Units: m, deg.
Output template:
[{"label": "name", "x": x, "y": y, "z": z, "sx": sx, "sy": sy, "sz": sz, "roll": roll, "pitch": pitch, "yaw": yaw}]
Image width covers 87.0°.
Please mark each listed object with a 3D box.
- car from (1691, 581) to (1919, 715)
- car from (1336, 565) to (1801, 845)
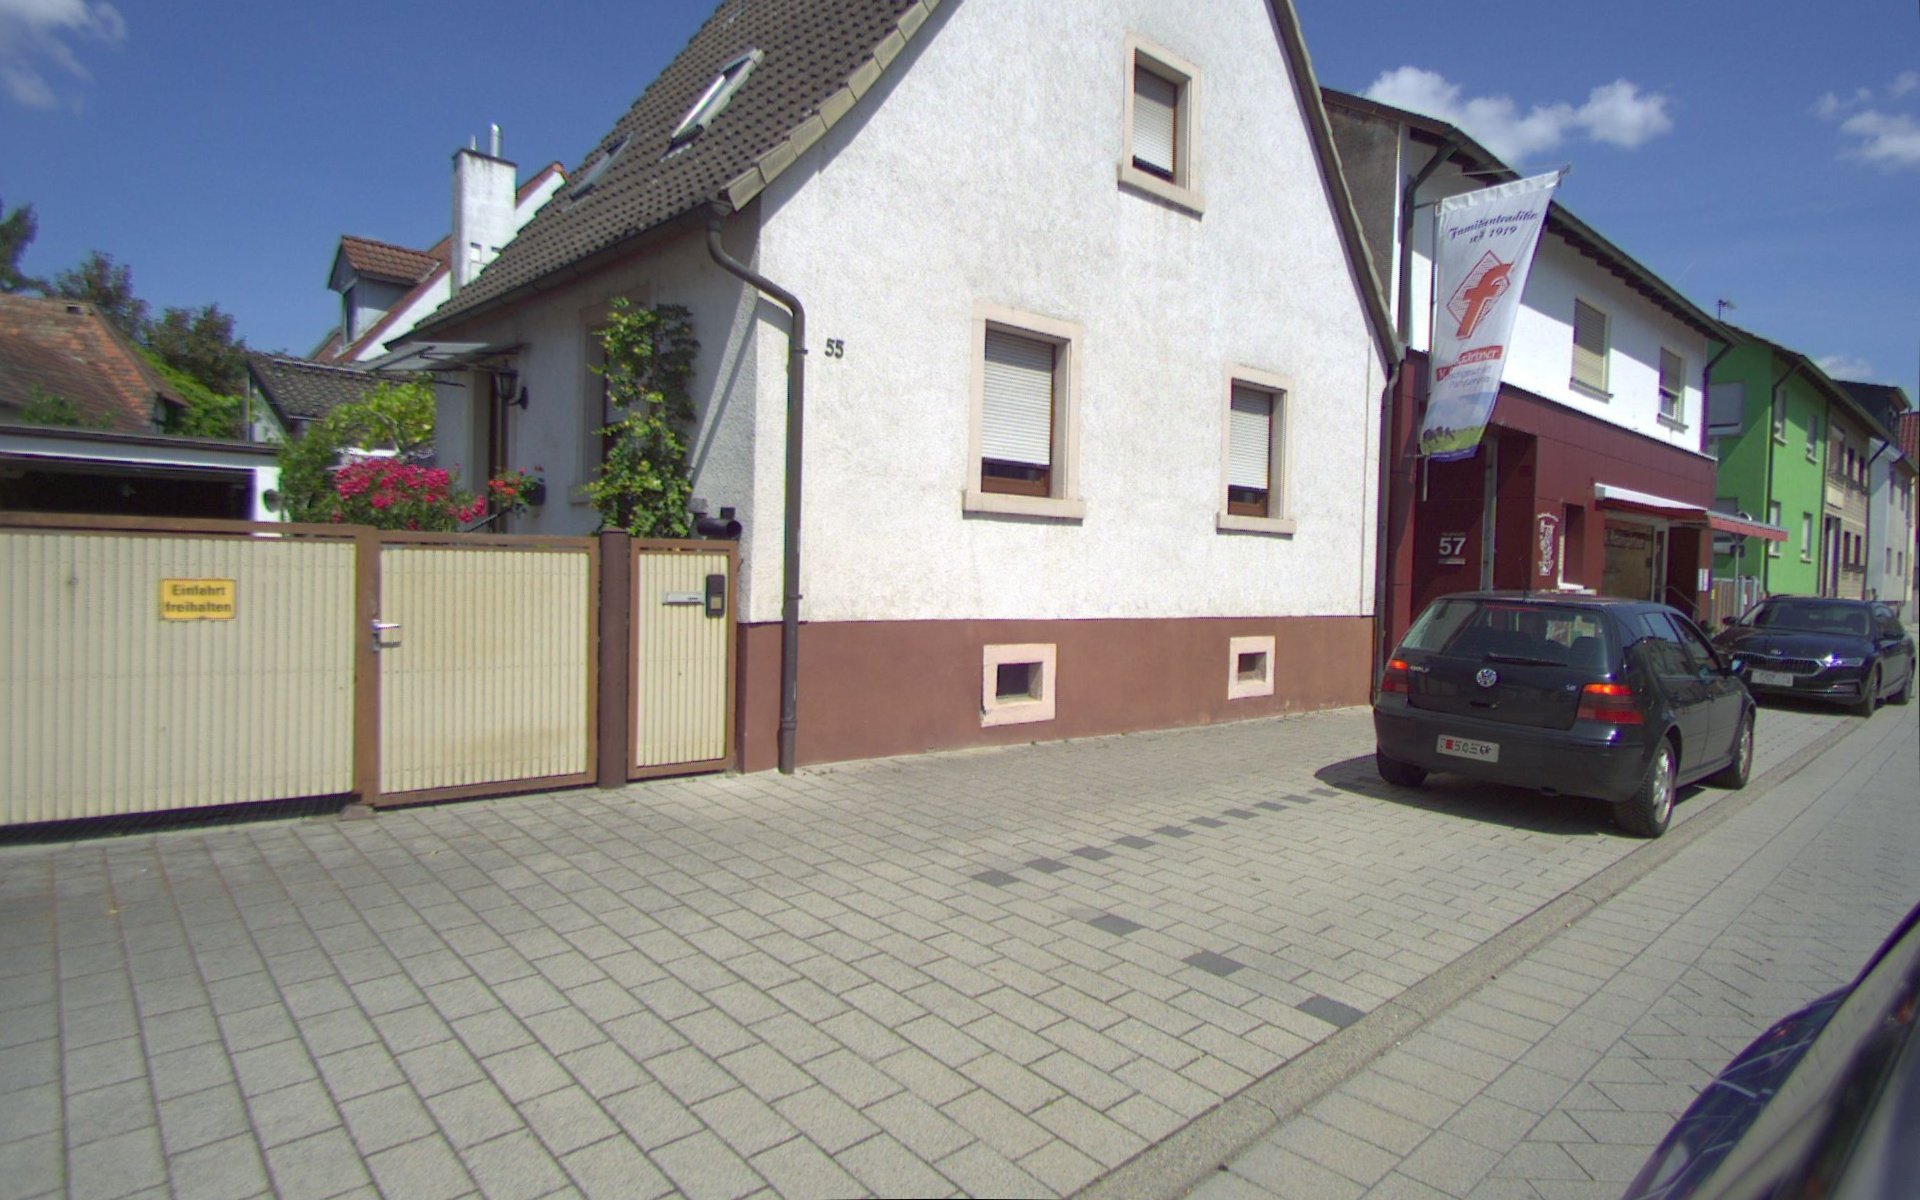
[{"label": "car", "x": 12.085, "y": 0.547, "z": 14.171, "sx": 4.504, "sy": 1.476, "sz": 1.863, "roll": 0, "pitch": 4, "yaw": -40}, {"label": "car", "x": 4.639, "y": 0.541, "z": 7.469, "sx": 4.048, "sy": 1.456, "sz": 1.763, "roll": 0, "pitch": 3, "yaw": -42}]
